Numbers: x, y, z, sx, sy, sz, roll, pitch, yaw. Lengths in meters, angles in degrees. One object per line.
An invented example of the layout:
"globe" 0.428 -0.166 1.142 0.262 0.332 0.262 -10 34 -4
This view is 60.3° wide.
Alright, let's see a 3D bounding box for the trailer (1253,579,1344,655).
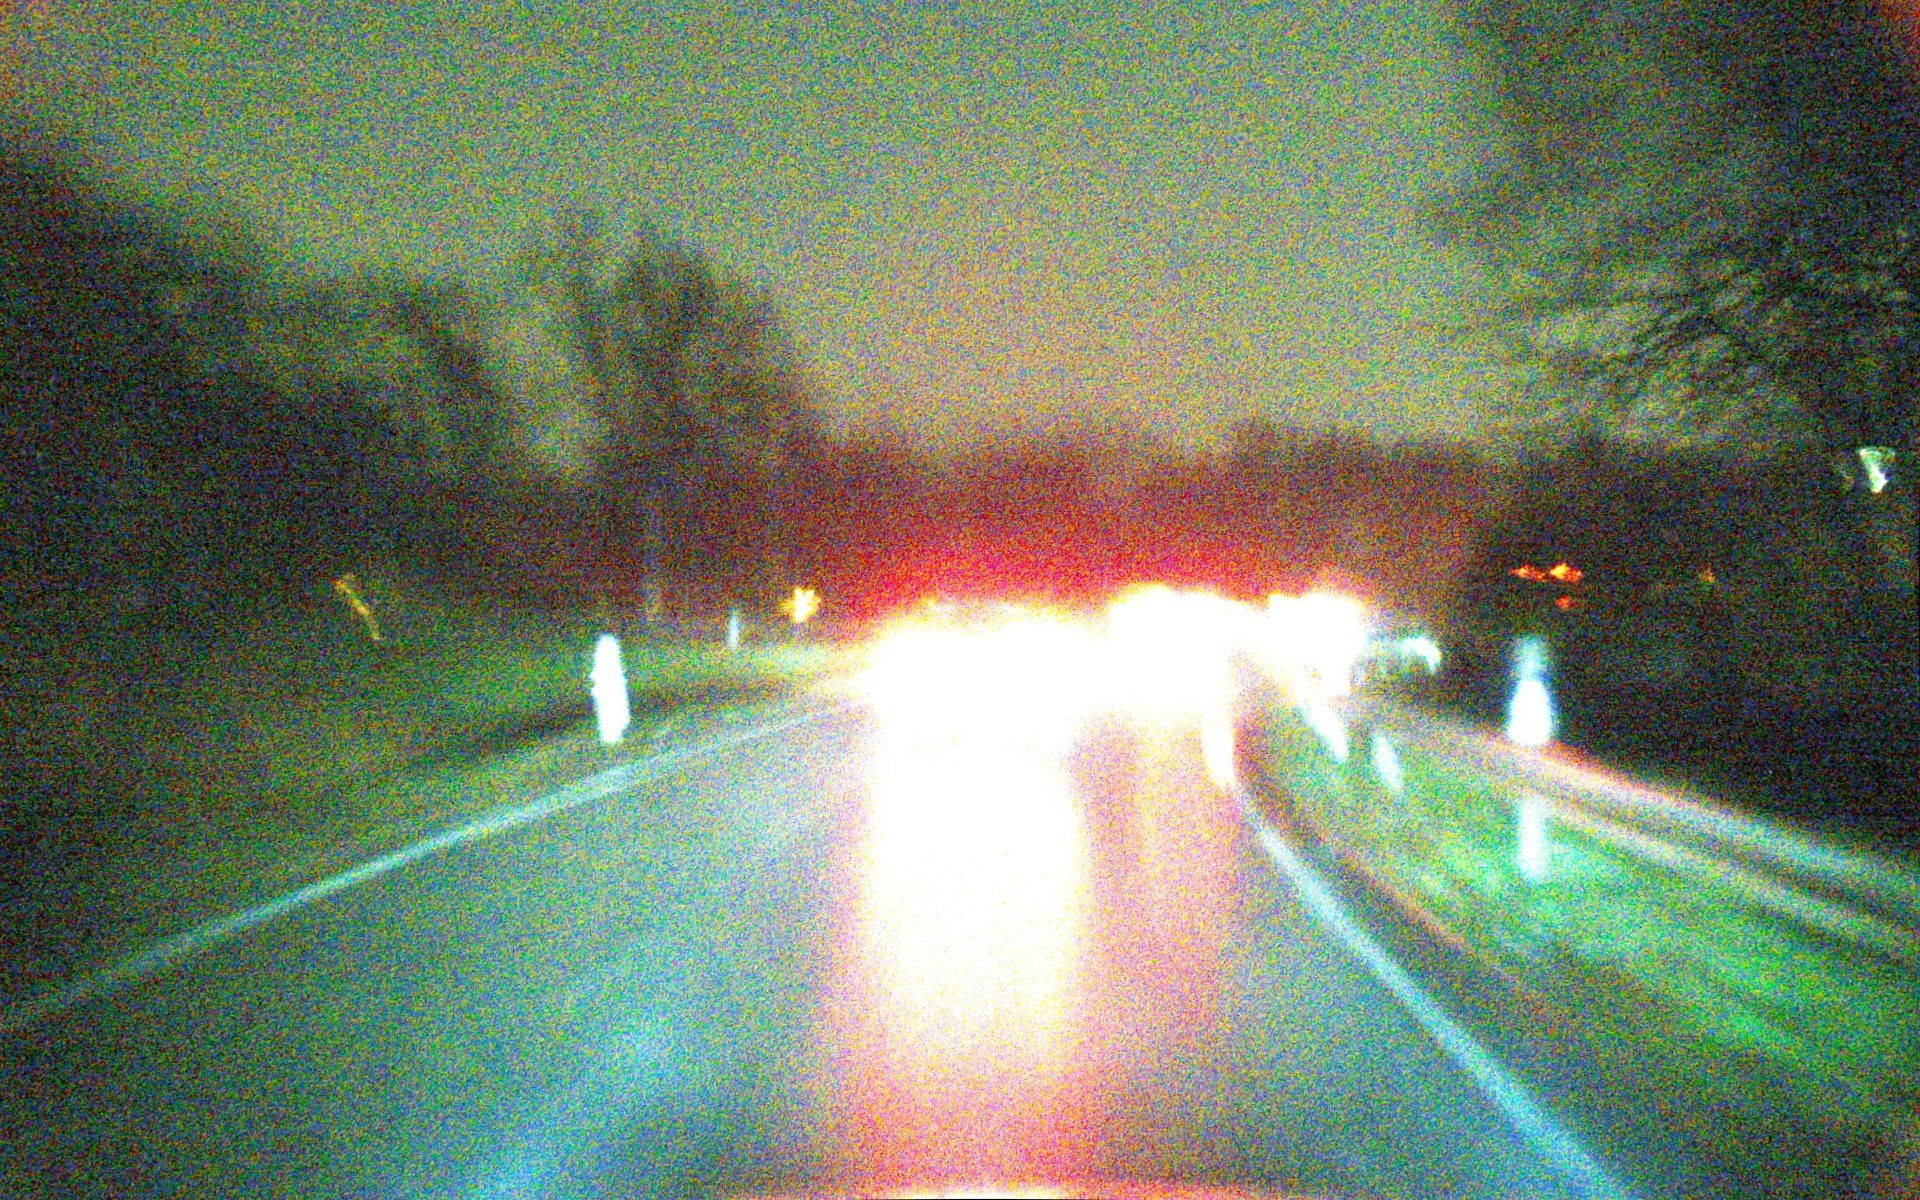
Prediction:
"trailer" 10.686 0.566 51.534 2.034 2.049 10.654 -2 -1 15
